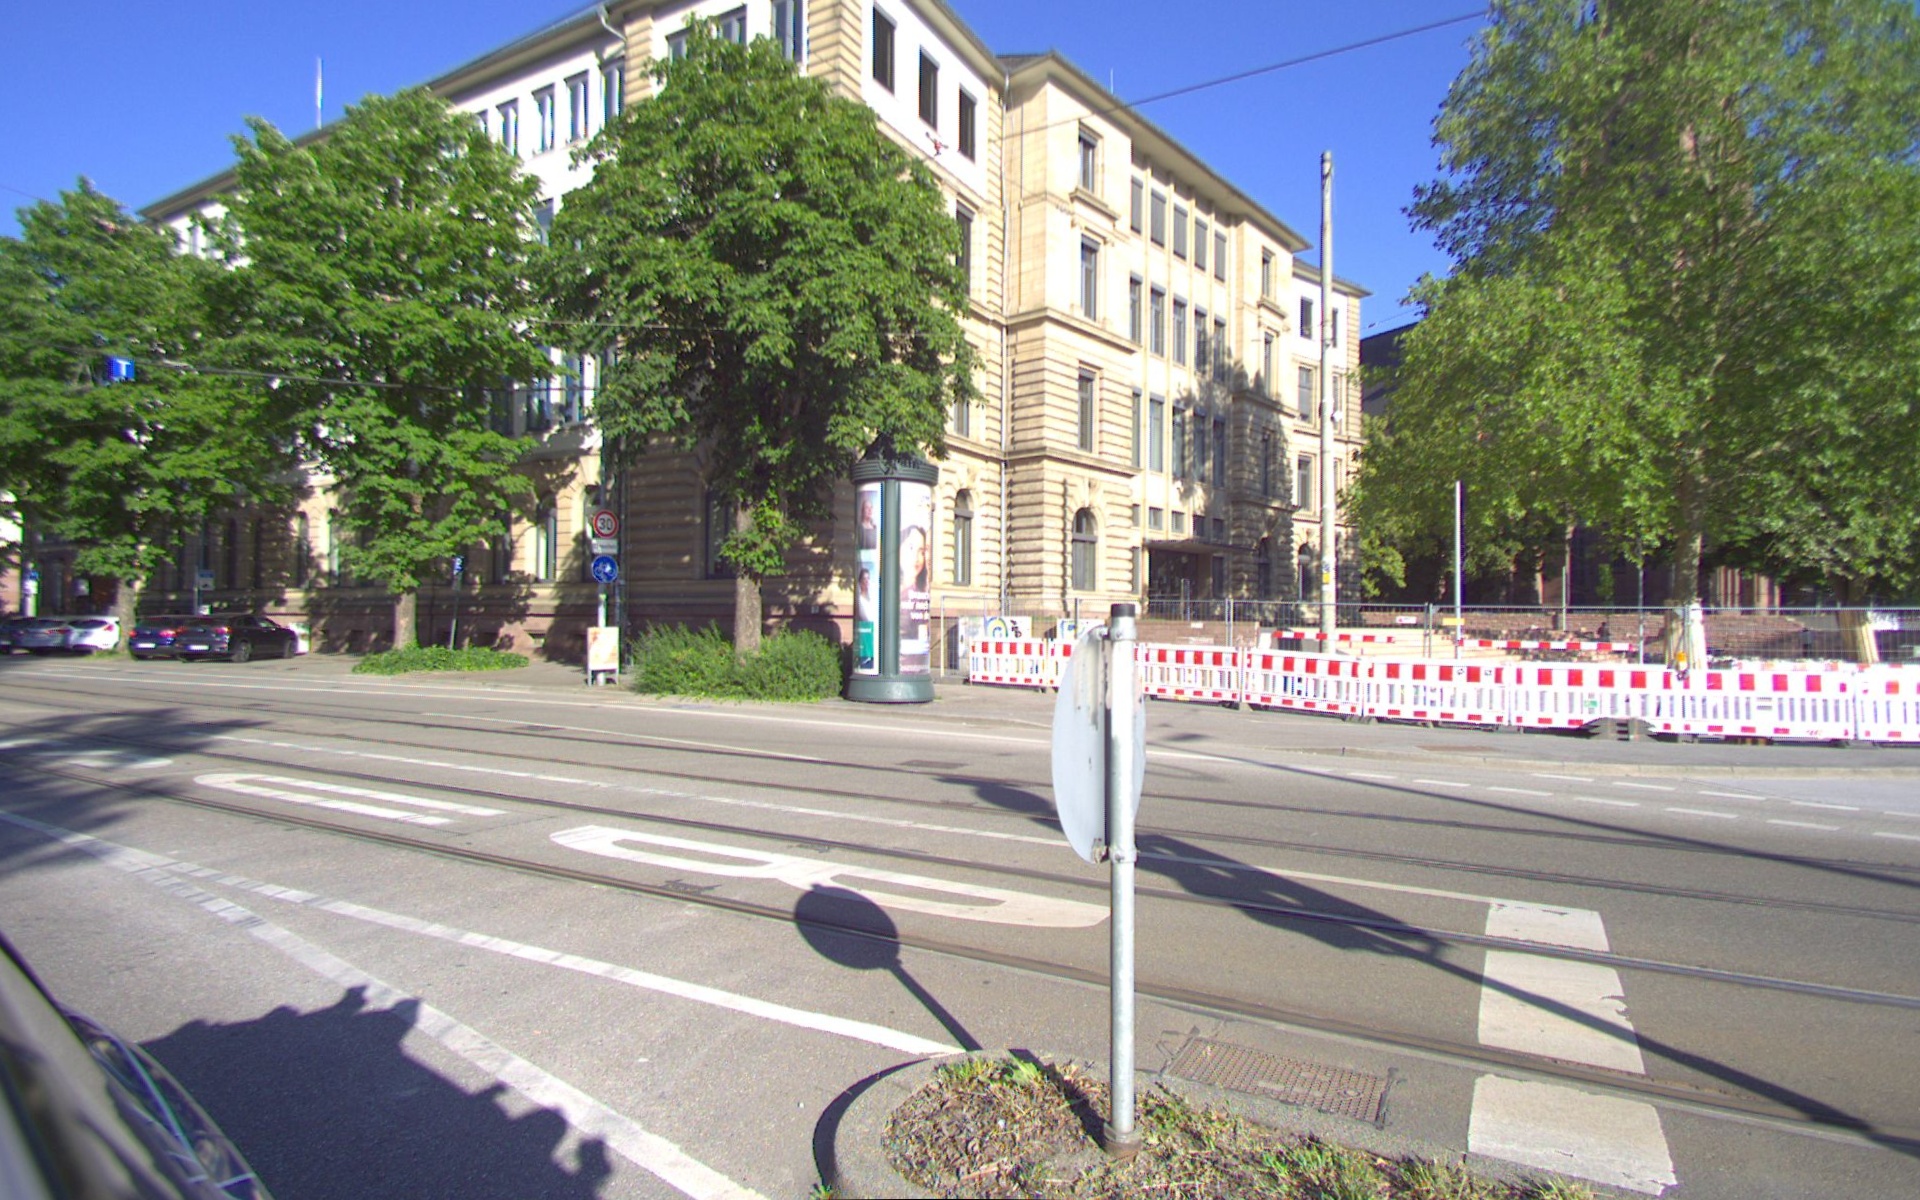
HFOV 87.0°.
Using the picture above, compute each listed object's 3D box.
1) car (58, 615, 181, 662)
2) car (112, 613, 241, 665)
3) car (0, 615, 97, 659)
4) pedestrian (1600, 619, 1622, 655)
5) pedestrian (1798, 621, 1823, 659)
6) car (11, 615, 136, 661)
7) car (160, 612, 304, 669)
[{"bbox_3d":[-30.917,1.375,37.356,1.626,1.572,3.652,-1,0,-3],"label":"car"},{"bbox_3d":[-26.246,1.272,34.040,1.626,1.572,3.652,-1,0,-3],"label":"car"},{"bbox_3d":[-36.246,1.415,39.776,1.626,1.572,3.652,-1,0,-3],"label":"car"},{"bbox_3d":[30.583,1.726,47.563,0.627,1.660,0.677,1,-2,-37],"label":"pedestrian"},{"bbox_3d":[36.829,1.725,43.823,0.666,1.660,0.762,1,-2,-45],"label":"pedestrian"},{"bbox_3d":[-33.230,1.393,38.067,1.626,1.572,3.652,-1,0,-3],"label":"car"},{"bbox_3d":[-23.617,1.262,33.038,1.819,1.643,4.184,-1,0,-3],"label":"car"}]
